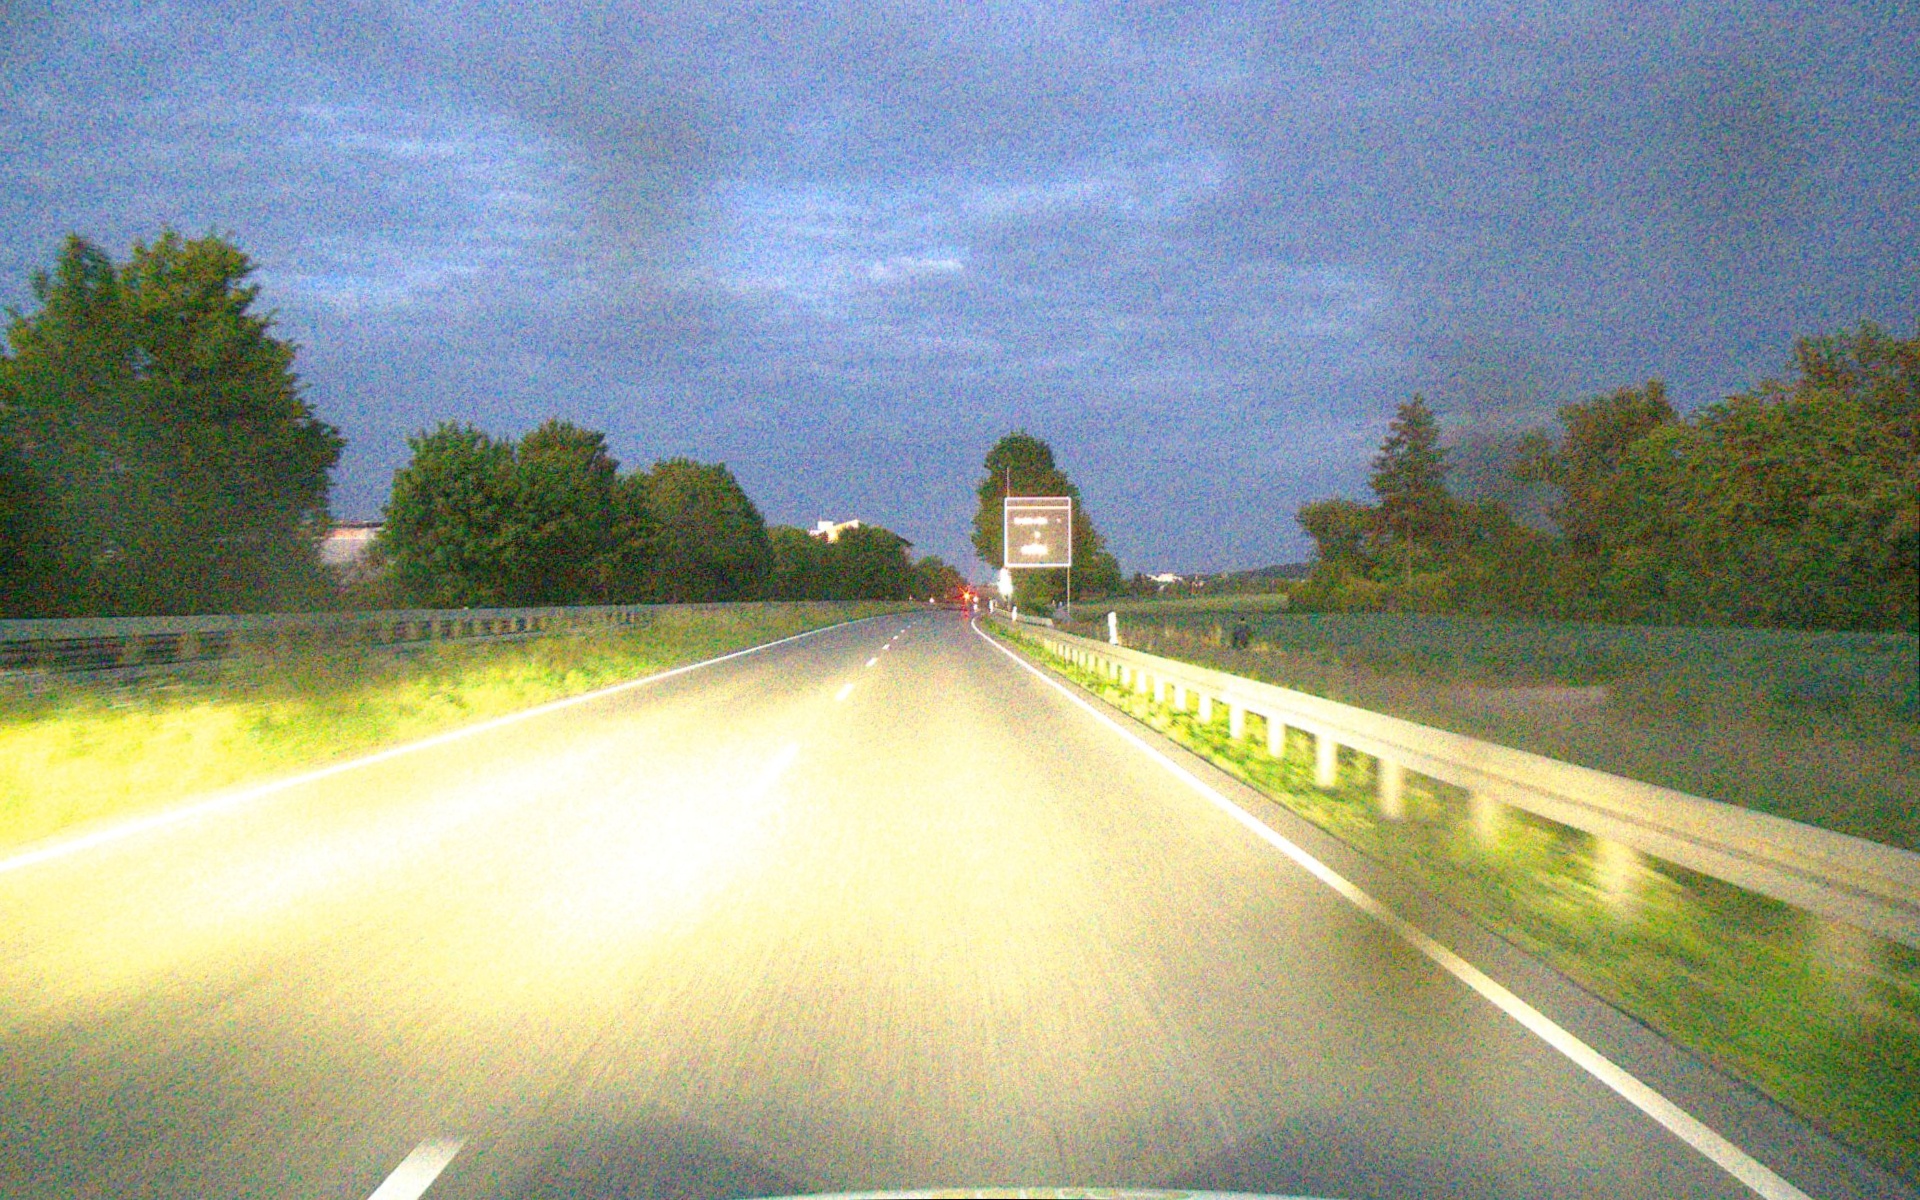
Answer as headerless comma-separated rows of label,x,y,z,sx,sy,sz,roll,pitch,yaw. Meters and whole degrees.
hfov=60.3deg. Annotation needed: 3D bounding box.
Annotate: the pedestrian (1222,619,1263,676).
pedestrian,8.638,1.442,50.619,1.040,1.672,1.118,1,0,-1
